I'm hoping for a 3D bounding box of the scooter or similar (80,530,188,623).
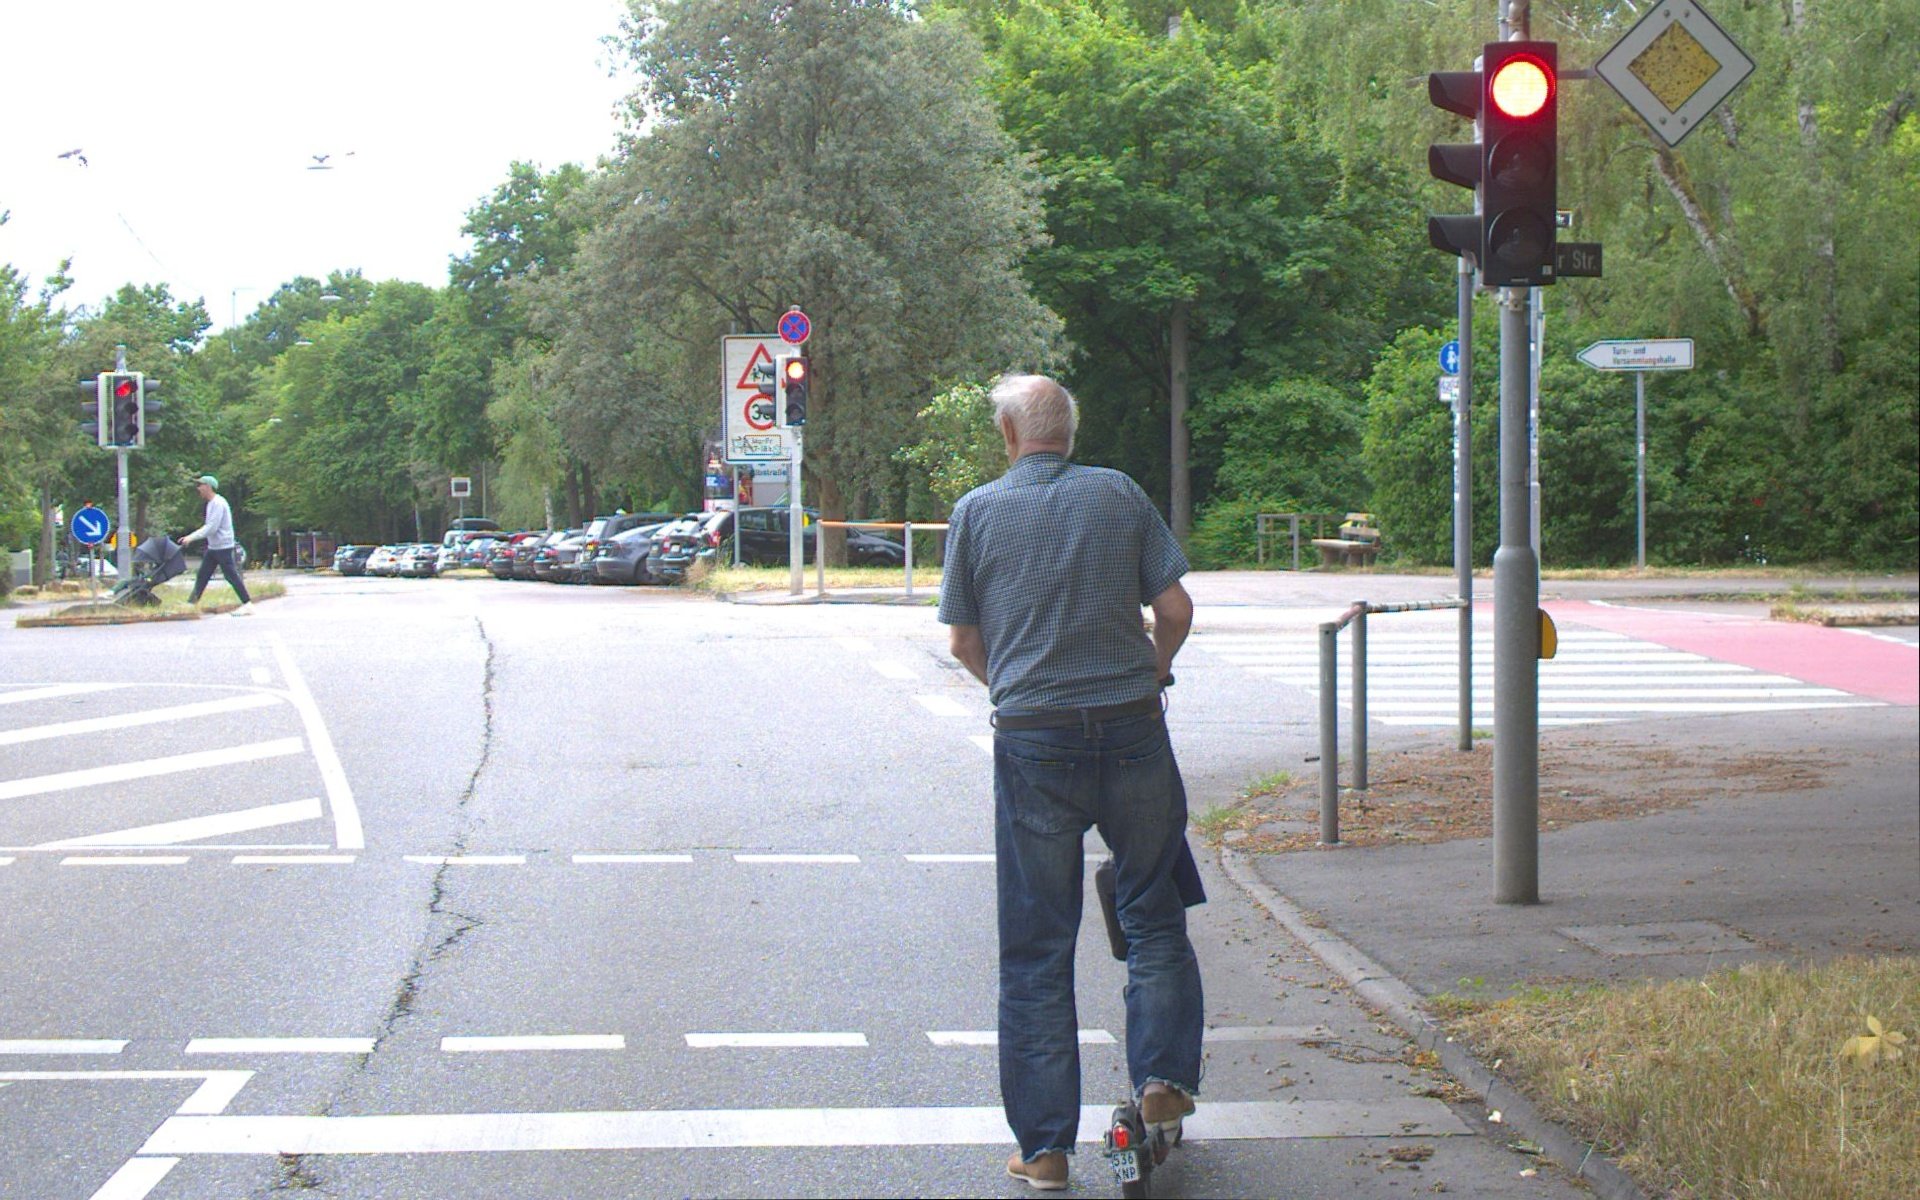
[{"bbox_3d":[-9.931,-0.290,41.343,1.108,1.077,0.577,-2,2,-34],"label":"scooter or similar"}]

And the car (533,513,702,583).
[{"bbox_3d":[-8.648,-1.323,86.826,3.840,1.605,1.729,-3,2,-23],"label":"car"}]

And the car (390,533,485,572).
[{"bbox_3d":[-23.456,-2.130,154.240,3.840,1.605,1.729,-3,2,-23],"label":"car"}]

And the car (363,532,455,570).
[{"bbox_3d":[-25.475,-2.291,158.941,3.840,1.605,1.729,-3,2,-23],"label":"car"}]

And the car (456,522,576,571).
[{"bbox_3d":[-15.767,-1.912,122.064,3.840,1.605,1.729,-3,2,-23],"label":"car"}]

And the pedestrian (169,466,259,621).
[{"bbox_3d":[-9.106,-0.691,41.941,0.884,1.856,0.574,-2,2,-33],"label":"pedestrian"}]

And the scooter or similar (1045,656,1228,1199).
[{"bbox_3d":[0.401,0.738,7.509,0.282,1.174,1.177,-1,1,8],"label":"scooter or similar"}]

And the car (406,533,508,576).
[{"bbox_3d":[-20.928,-1.897,142.938,3.840,1.605,1.729,-3,2,-23],"label":"car"}]

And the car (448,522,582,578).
[{"bbox_3d":[-14.113,-1.592,109.099,3.840,1.605,1.729,-3,2,-23],"label":"car"}]

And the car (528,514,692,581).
[{"bbox_3d":[-9.089,-1.370,89.237,3.840,1.605,1.729,-3,2,-23],"label":"car"}]

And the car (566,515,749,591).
[{"bbox_3d":[-6.995,-1.105,79.479,3.840,1.605,1.729,-3,2,-23],"label":"car"}]

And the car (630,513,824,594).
[{"bbox_3d":[-5.090,-1.019,74.969,3.840,1.605,1.729,-3,2,-21],"label":"car"}]

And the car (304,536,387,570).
[{"bbox_3d":[-31.420,-2.421,175.799,3.840,1.605,1.729,-3,2,-23],"label":"car"}]

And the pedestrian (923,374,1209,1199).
[{"bbox_3d":[0.247,0.410,7.749,0.573,1.807,0.420,-1,1,8],"label":"pedestrian"}]

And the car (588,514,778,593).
[{"bbox_3d":[-6.192,-1.052,76.939,3.841,1.605,1.729,-3,2,-24],"label":"car"}]
